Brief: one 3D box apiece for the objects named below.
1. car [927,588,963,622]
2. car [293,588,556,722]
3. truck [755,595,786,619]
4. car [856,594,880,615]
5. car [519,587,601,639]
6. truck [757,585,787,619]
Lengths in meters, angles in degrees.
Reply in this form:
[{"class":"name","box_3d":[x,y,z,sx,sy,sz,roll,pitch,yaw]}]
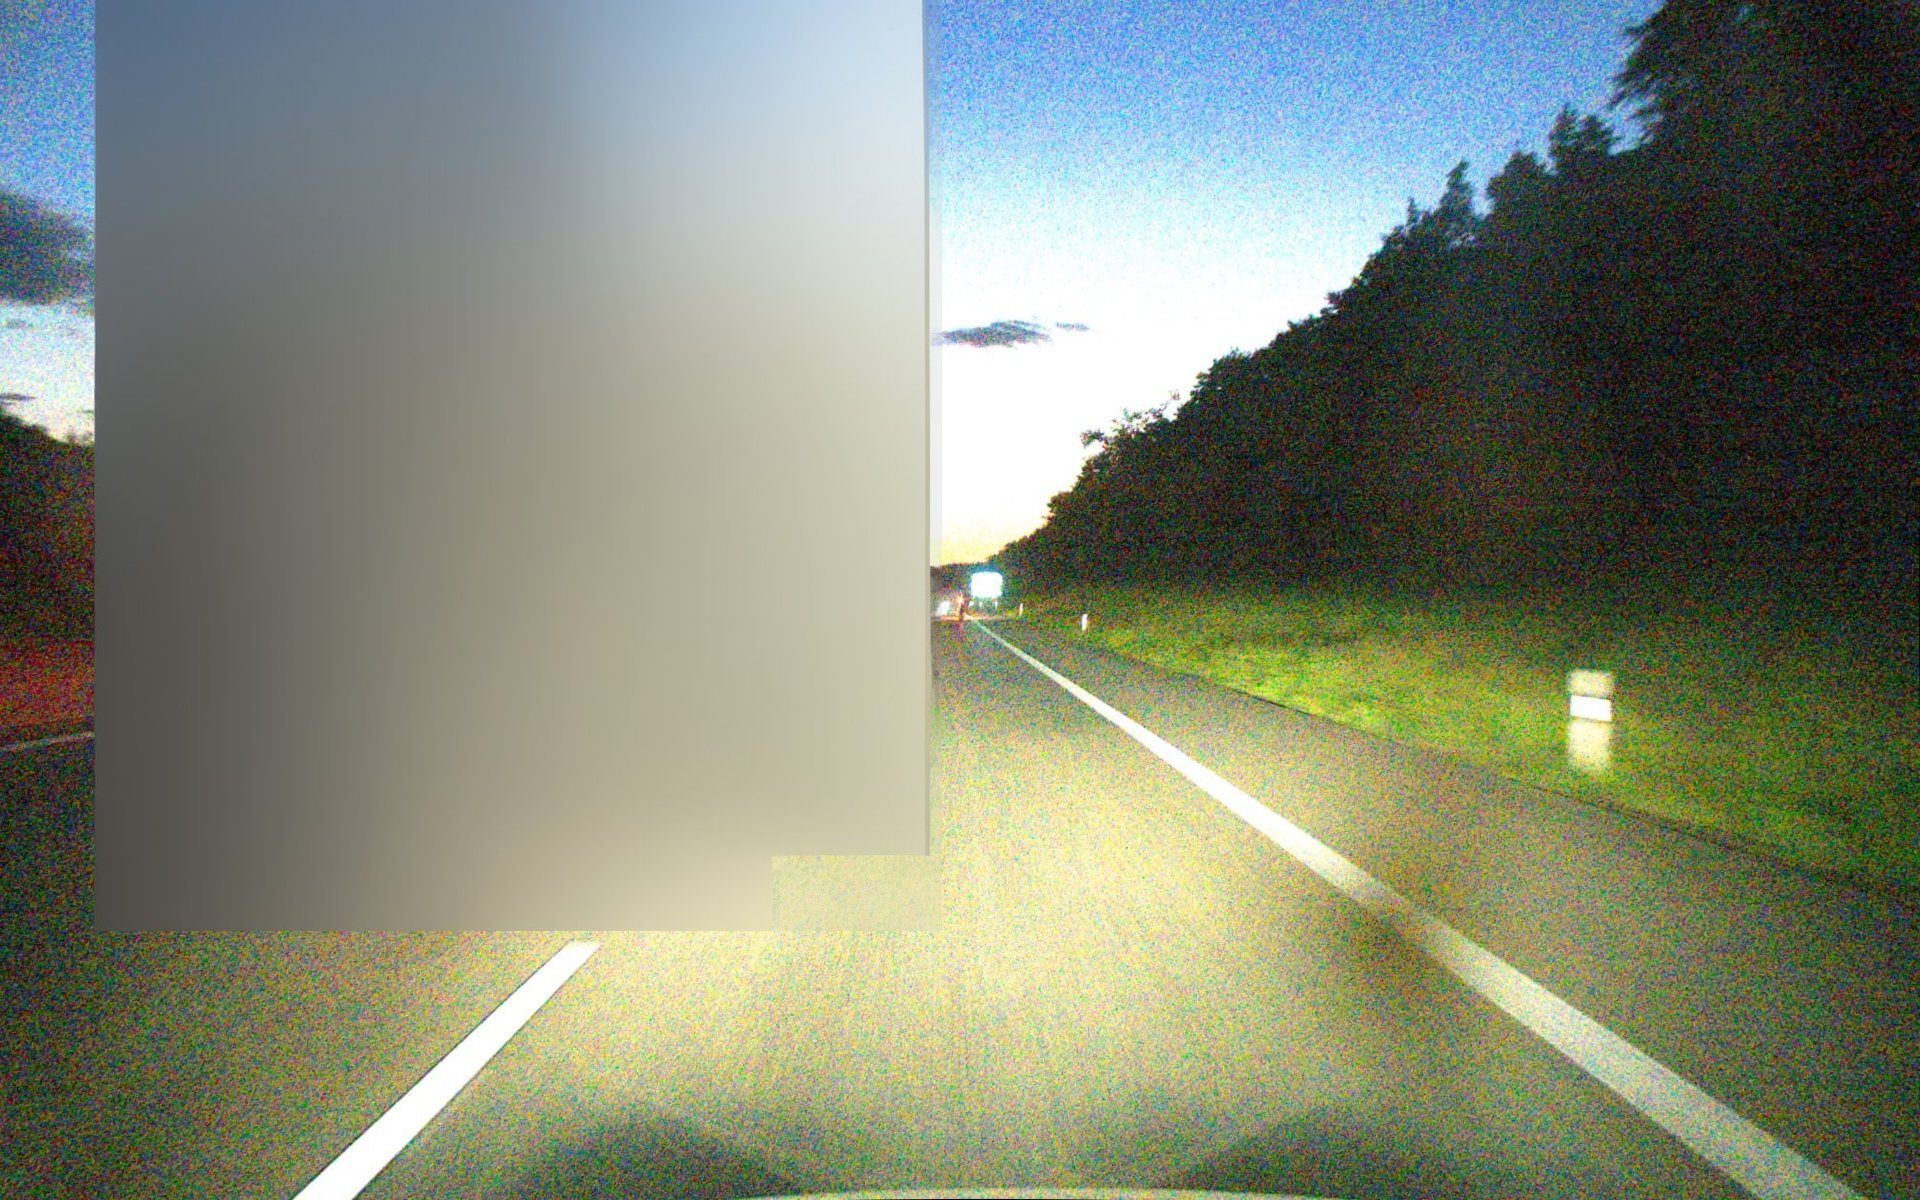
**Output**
[{"class":"car","box_3d":[-0.952,0.311,104.397,2.152,1.989,4.763,-3,0,0]},{"class":"car","box_3d":[-6.751,0.620,21.495,1.743,1.513,5.253,0,0,-1]},{"class":"truck","box_3d":[-22.260,0.809,194.360,2.814,2.688,7.884,-1,0,-1]},{"class":"car","box_3d":[-8.901,0.443,160.219,2.152,1.989,4.633,0,0,-1]},{"class":"car","box_3d":[-16.014,0.496,66.505,2.152,1.989,4.762,1,0,-1]},{"class":"truck","box_3d":[-25.586,0.265,224.879,3.258,4.511,6.706,-1,0,-1]}]
